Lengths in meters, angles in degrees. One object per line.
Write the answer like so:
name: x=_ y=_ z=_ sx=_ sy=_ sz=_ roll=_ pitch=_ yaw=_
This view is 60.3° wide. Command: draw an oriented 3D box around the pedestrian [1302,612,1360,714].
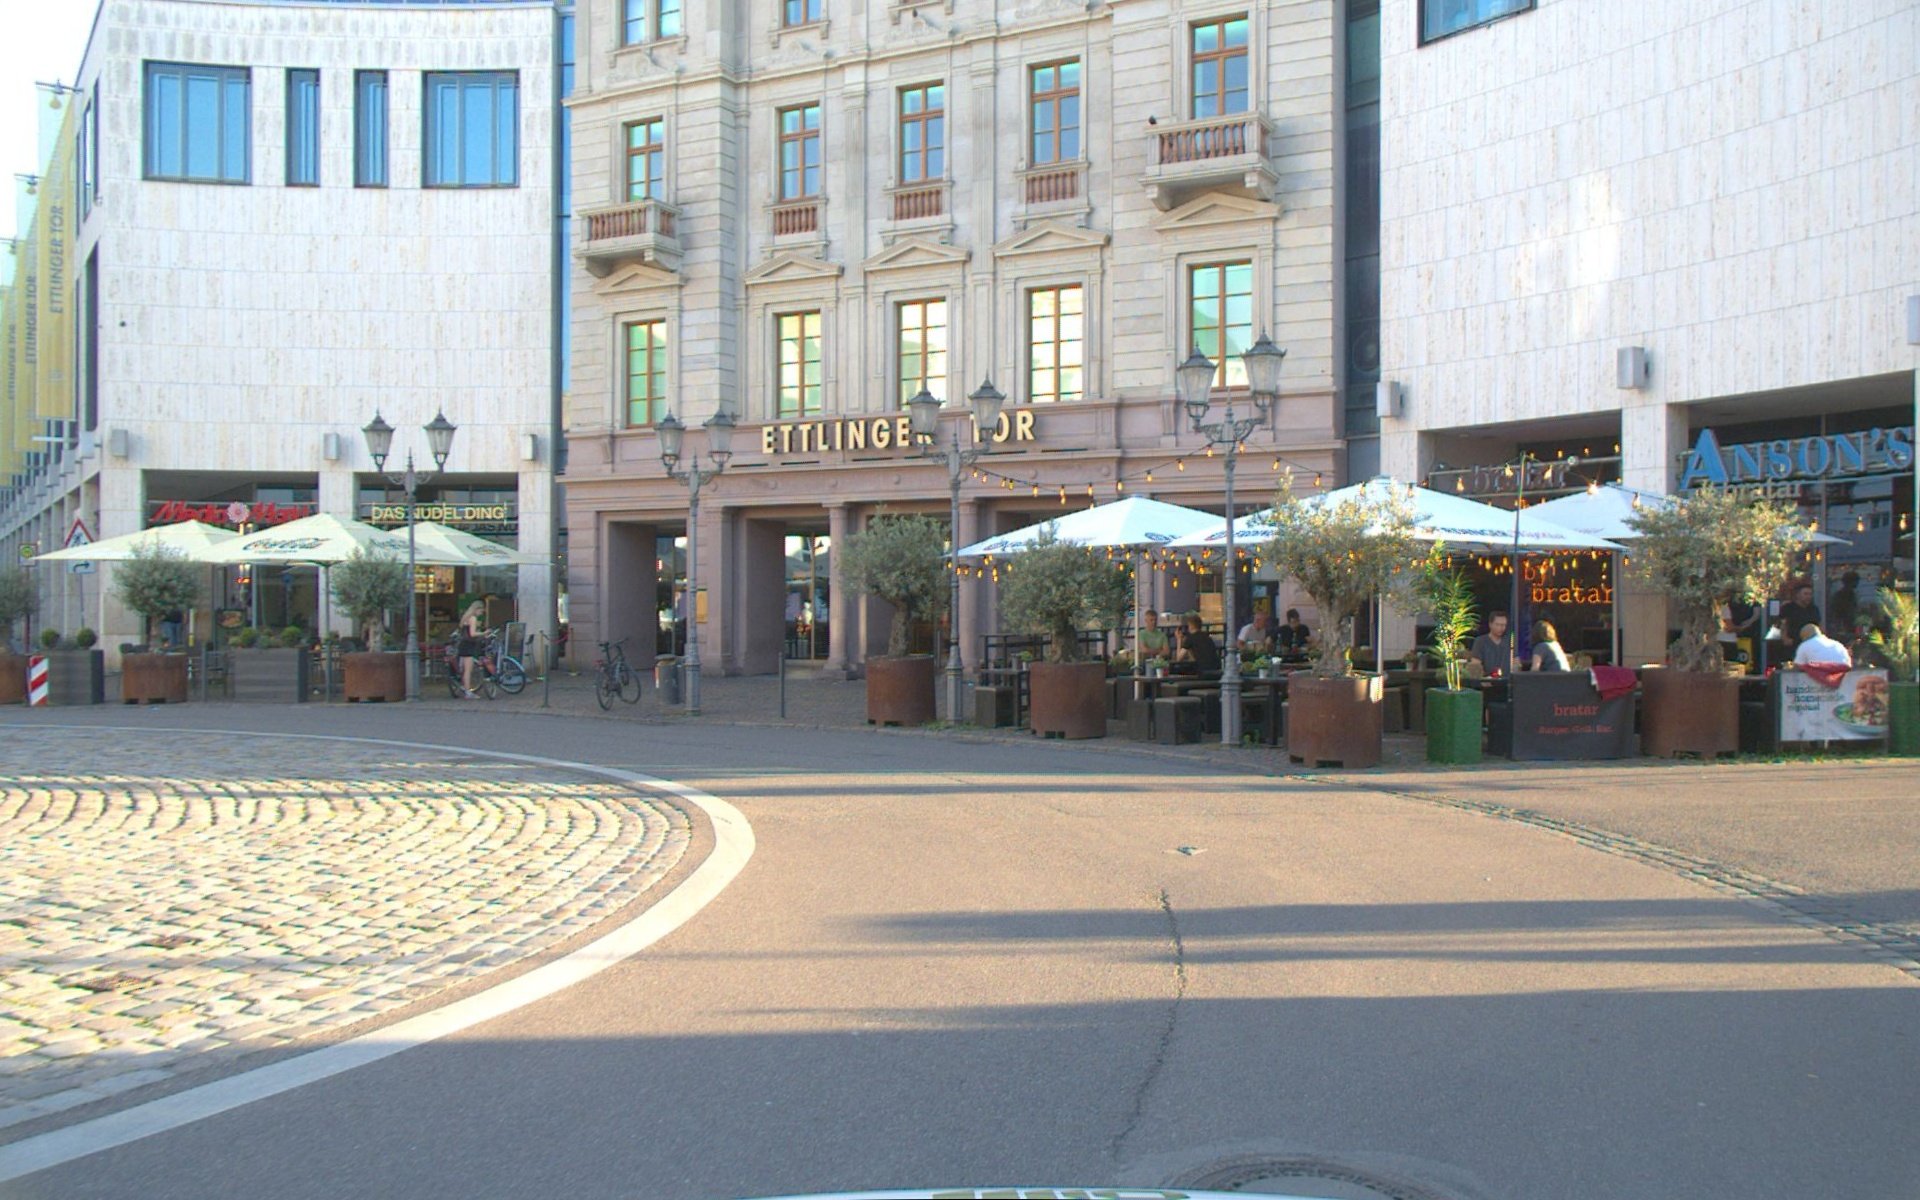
pedestrian: x=5.590 y=0.934 z=24.932 sx=0.619 sy=1.504 sz=0.614 roll=0 pitch=0 yaw=-42

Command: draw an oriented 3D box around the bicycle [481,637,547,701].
bicycle: x=-7.686 y=1.177 z=28.573 sx=0.606 sy=1.050 sz=1.646 roll=0 pitch=0 yaw=3

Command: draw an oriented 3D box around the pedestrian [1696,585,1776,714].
pedestrian: x=10.308 y=0.647 z=21.983 sx=0.683 sy=1.676 sz=0.688 roll=0 pitch=0 yaw=-21

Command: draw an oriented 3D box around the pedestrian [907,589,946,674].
pedestrian: x=-0.687 y=0.648 z=34.337 sx=0.611 sy=1.759 sz=0.544 roll=0 pitch=0 yaw=33

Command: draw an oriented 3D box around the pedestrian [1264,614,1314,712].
pedestrian: x=5.133 y=0.968 z=25.812 sx=0.536 sy=1.504 sz=0.620 roll=0 pitch=0 yaw=-21

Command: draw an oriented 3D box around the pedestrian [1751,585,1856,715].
pedestrian: x=11.154 y=0.643 z=21.887 sx=0.915 sy=1.676 sz=0.862 roll=0 pitch=0 yaw=-20

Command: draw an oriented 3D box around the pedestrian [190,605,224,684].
pedestrian: x=-13.730 y=0.799 z=30.170 sx=0.498 sy=1.422 sz=0.493 roll=0 pitch=0 yaw=-17

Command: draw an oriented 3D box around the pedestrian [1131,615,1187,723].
pedestrian: x=2.837 y=0.970 z=23.597 sx=0.538 sy=1.504 sz=0.617 roll=0 pitch=0 yaw=-31

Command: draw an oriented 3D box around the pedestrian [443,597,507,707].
pedestrian: x=-7.932 y=0.834 z=27.031 sx=0.893 sy=1.759 sz=0.843 roll=0 pitch=0 yaw=-24

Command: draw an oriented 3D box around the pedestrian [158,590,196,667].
pedestrian: x=-18.824 y=0.683 z=39.764 sx=0.703 sy=1.818 sz=0.636 roll=0 pitch=0 yaw=-40

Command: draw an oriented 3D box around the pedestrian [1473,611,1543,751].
pedestrian: x=6.040 y=0.877 z=18.247 sx=0.519 sy=1.504 sz=0.560 roll=0 pitch=0 yaw=-14

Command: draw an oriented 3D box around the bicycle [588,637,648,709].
bicycle: x=-5.326 y=1.117 z=25.819 sx=0.496 sy=1.050 sz=1.646 roll=0 pitch=0 yaw=3

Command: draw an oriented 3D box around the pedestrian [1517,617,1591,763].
pedestrian: x=6.260 y=0.937 z=17.447 sx=0.519 sy=1.504 sz=0.561 roll=0 pitch=0 yaw=-12

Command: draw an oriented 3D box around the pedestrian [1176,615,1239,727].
pedestrian: x=3.407 y=0.965 z=22.799 sx=0.581 sy=1.504 sz=0.677 roll=0 pitch=0 yaw=-29

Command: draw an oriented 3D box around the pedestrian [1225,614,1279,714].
pedestrian: x=4.476 y=0.970 z=25.376 sx=0.581 sy=1.504 sz=0.620 roll=0 pitch=0 yaw=-21

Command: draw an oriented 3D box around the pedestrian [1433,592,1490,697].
pedestrian: x=8.575 y=0.750 z=28.302 sx=0.612 sy=1.751 sz=0.684 roll=0 pitch=1 yaw=-37

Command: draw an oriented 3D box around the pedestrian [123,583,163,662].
pedestrian: x=-19.346 y=0.535 z=39.167 sx=0.686 sy=1.848 sz=0.635 roll=0 pitch=0 yaw=41

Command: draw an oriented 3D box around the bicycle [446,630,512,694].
bicycle: x=-8.304 y=1.054 z=28.609 sx=0.587 sy=1.050 sz=1.646 roll=0 pitch=0 yaw=3

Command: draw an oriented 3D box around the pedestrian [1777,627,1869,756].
pedestrian: x=9.201 y=0.961 z=17.650 sx=0.538 sy=1.333 sz=0.722 roll=0 pitch=0 yaw=-13
